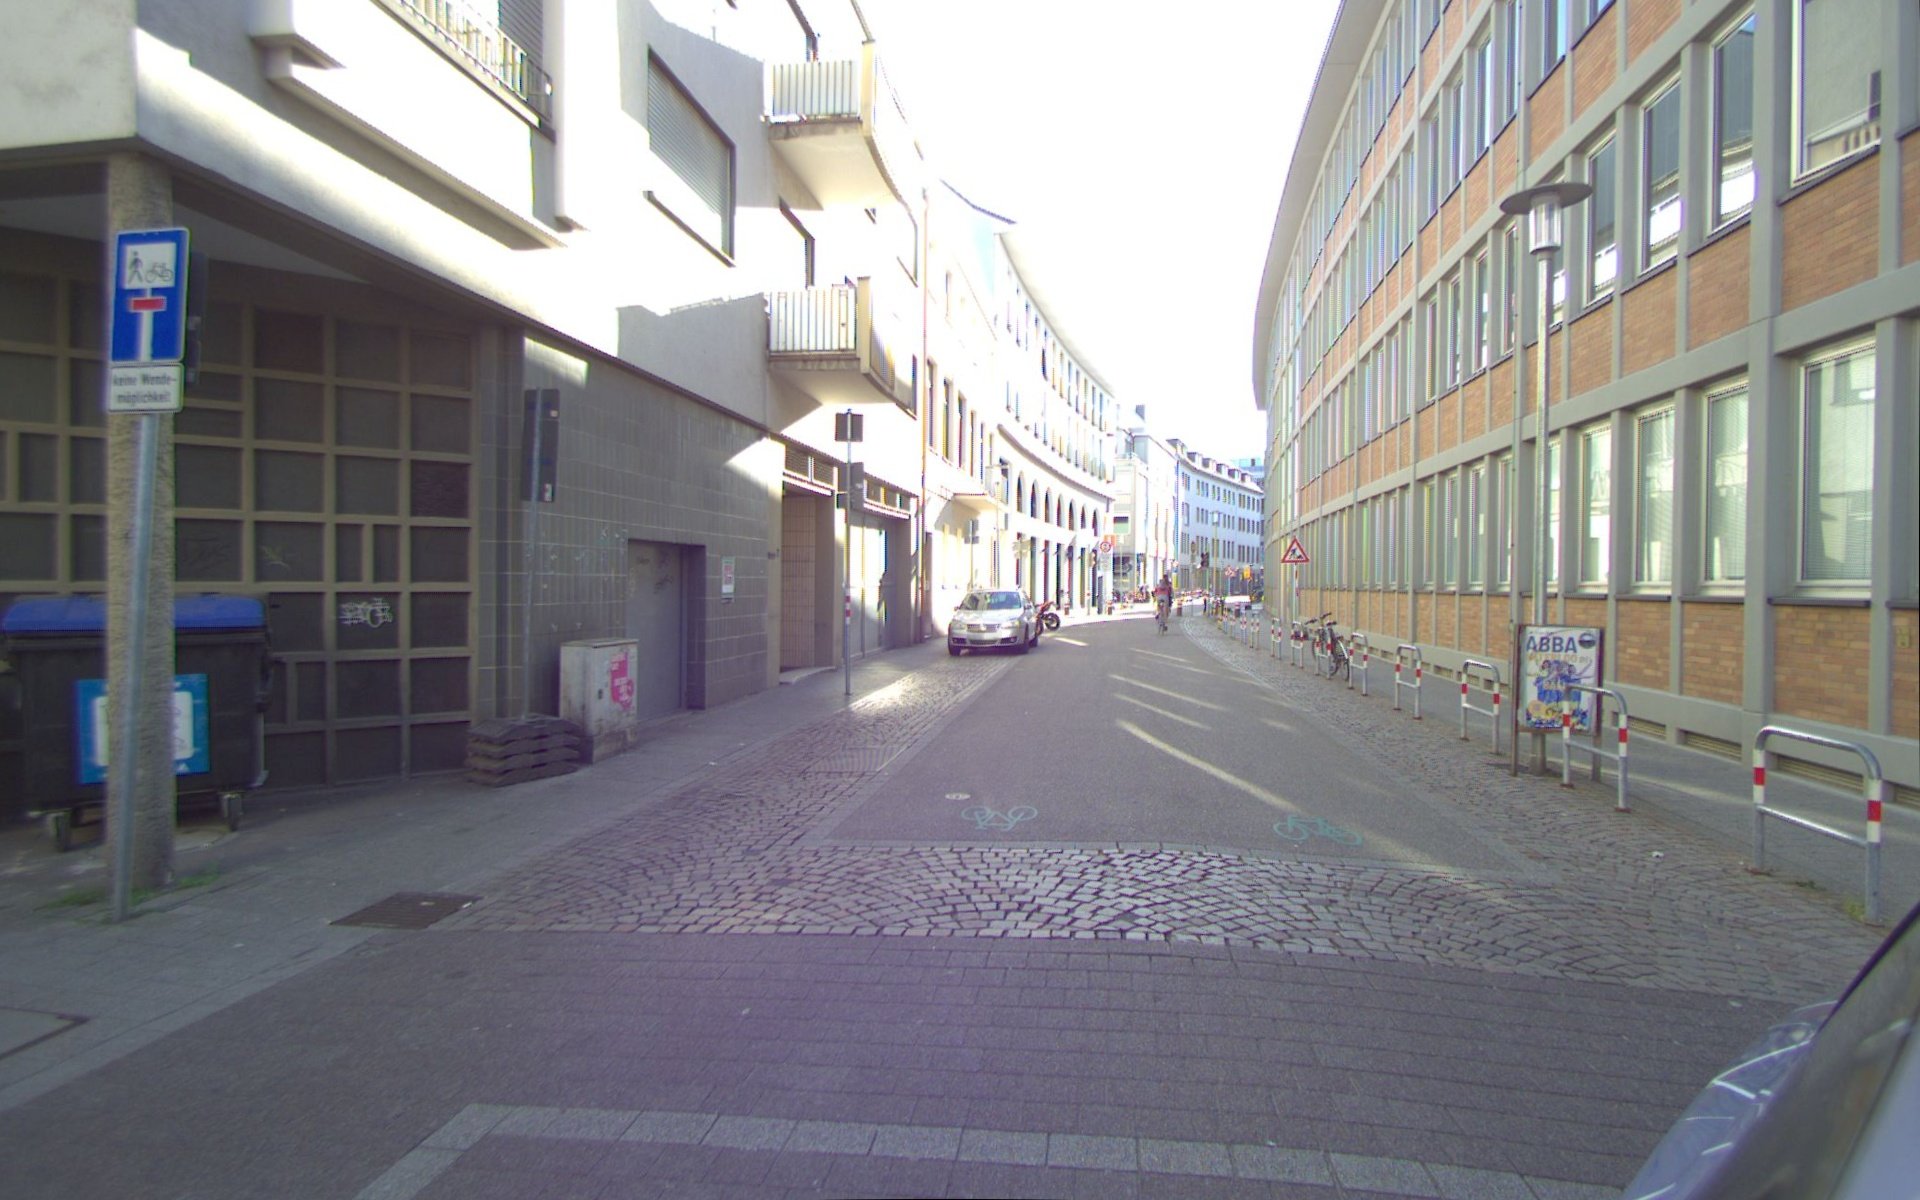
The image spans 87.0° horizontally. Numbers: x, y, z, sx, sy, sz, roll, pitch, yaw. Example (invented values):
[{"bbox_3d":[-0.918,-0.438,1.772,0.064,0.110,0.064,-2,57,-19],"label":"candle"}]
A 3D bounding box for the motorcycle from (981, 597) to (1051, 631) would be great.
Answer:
[{"bbox_3d":[1.666,0.410,30.201,1.977,0.967,0.640,0,1,23],"label":"motorcycle"}]

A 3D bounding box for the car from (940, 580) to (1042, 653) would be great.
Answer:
[{"bbox_3d":[0.801,0.314,23.047,1.818,1.480,3.989,-1,1,9],"label":"car"}]

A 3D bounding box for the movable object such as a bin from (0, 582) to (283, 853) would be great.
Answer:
[{"bbox_3d":[-5.089,0.629,6.311,1.407,1.481,1.129,0,1,-33],"label":"movable object such as a bin"}]

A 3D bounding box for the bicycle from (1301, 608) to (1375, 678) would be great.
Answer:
[{"bbox_3d":[6.274,0.686,16.883,0.616,1.067,1.822,0,1,2],"label":"bicycle"}]

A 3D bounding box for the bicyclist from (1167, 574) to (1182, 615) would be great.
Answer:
[{"bbox_3d":[8.424,-0.215,39.767,0.573,1.594,0.689,0,0,14],"label":"bicyclist"}]

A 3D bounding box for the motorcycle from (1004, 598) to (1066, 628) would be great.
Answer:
[{"bbox_3d":[2.511,0.418,34.009,1.977,0.967,0.640,0,1,23],"label":"motorcycle"}]

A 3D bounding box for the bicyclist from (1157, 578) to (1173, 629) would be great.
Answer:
[{"bbox_3d":[6.177,0.097,30.484,0.465,1.522,0.792,0,1,12],"label":"bicyclist"}]

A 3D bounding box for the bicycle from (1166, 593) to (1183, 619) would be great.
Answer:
[{"bbox_3d":[8.382,0.211,39.560,0.569,0.973,1.712,0,1,15],"label":"bicycle"}]

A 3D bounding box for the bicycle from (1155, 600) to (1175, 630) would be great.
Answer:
[{"bbox_3d":[6.156,0.435,30.371,0.517,0.859,1.484,0,1,14],"label":"bicycle"}]

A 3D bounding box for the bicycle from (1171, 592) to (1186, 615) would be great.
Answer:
[{"bbox_3d":[9.565,0.152,44.338,0.569,0.973,1.712,0,1,15],"label":"bicycle"}]

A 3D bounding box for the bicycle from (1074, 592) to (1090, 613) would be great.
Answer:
[{"bbox_3d":[5.913,0.112,49.061,0.569,0.973,1.712,0,1,15],"label":"bicycle"}]
